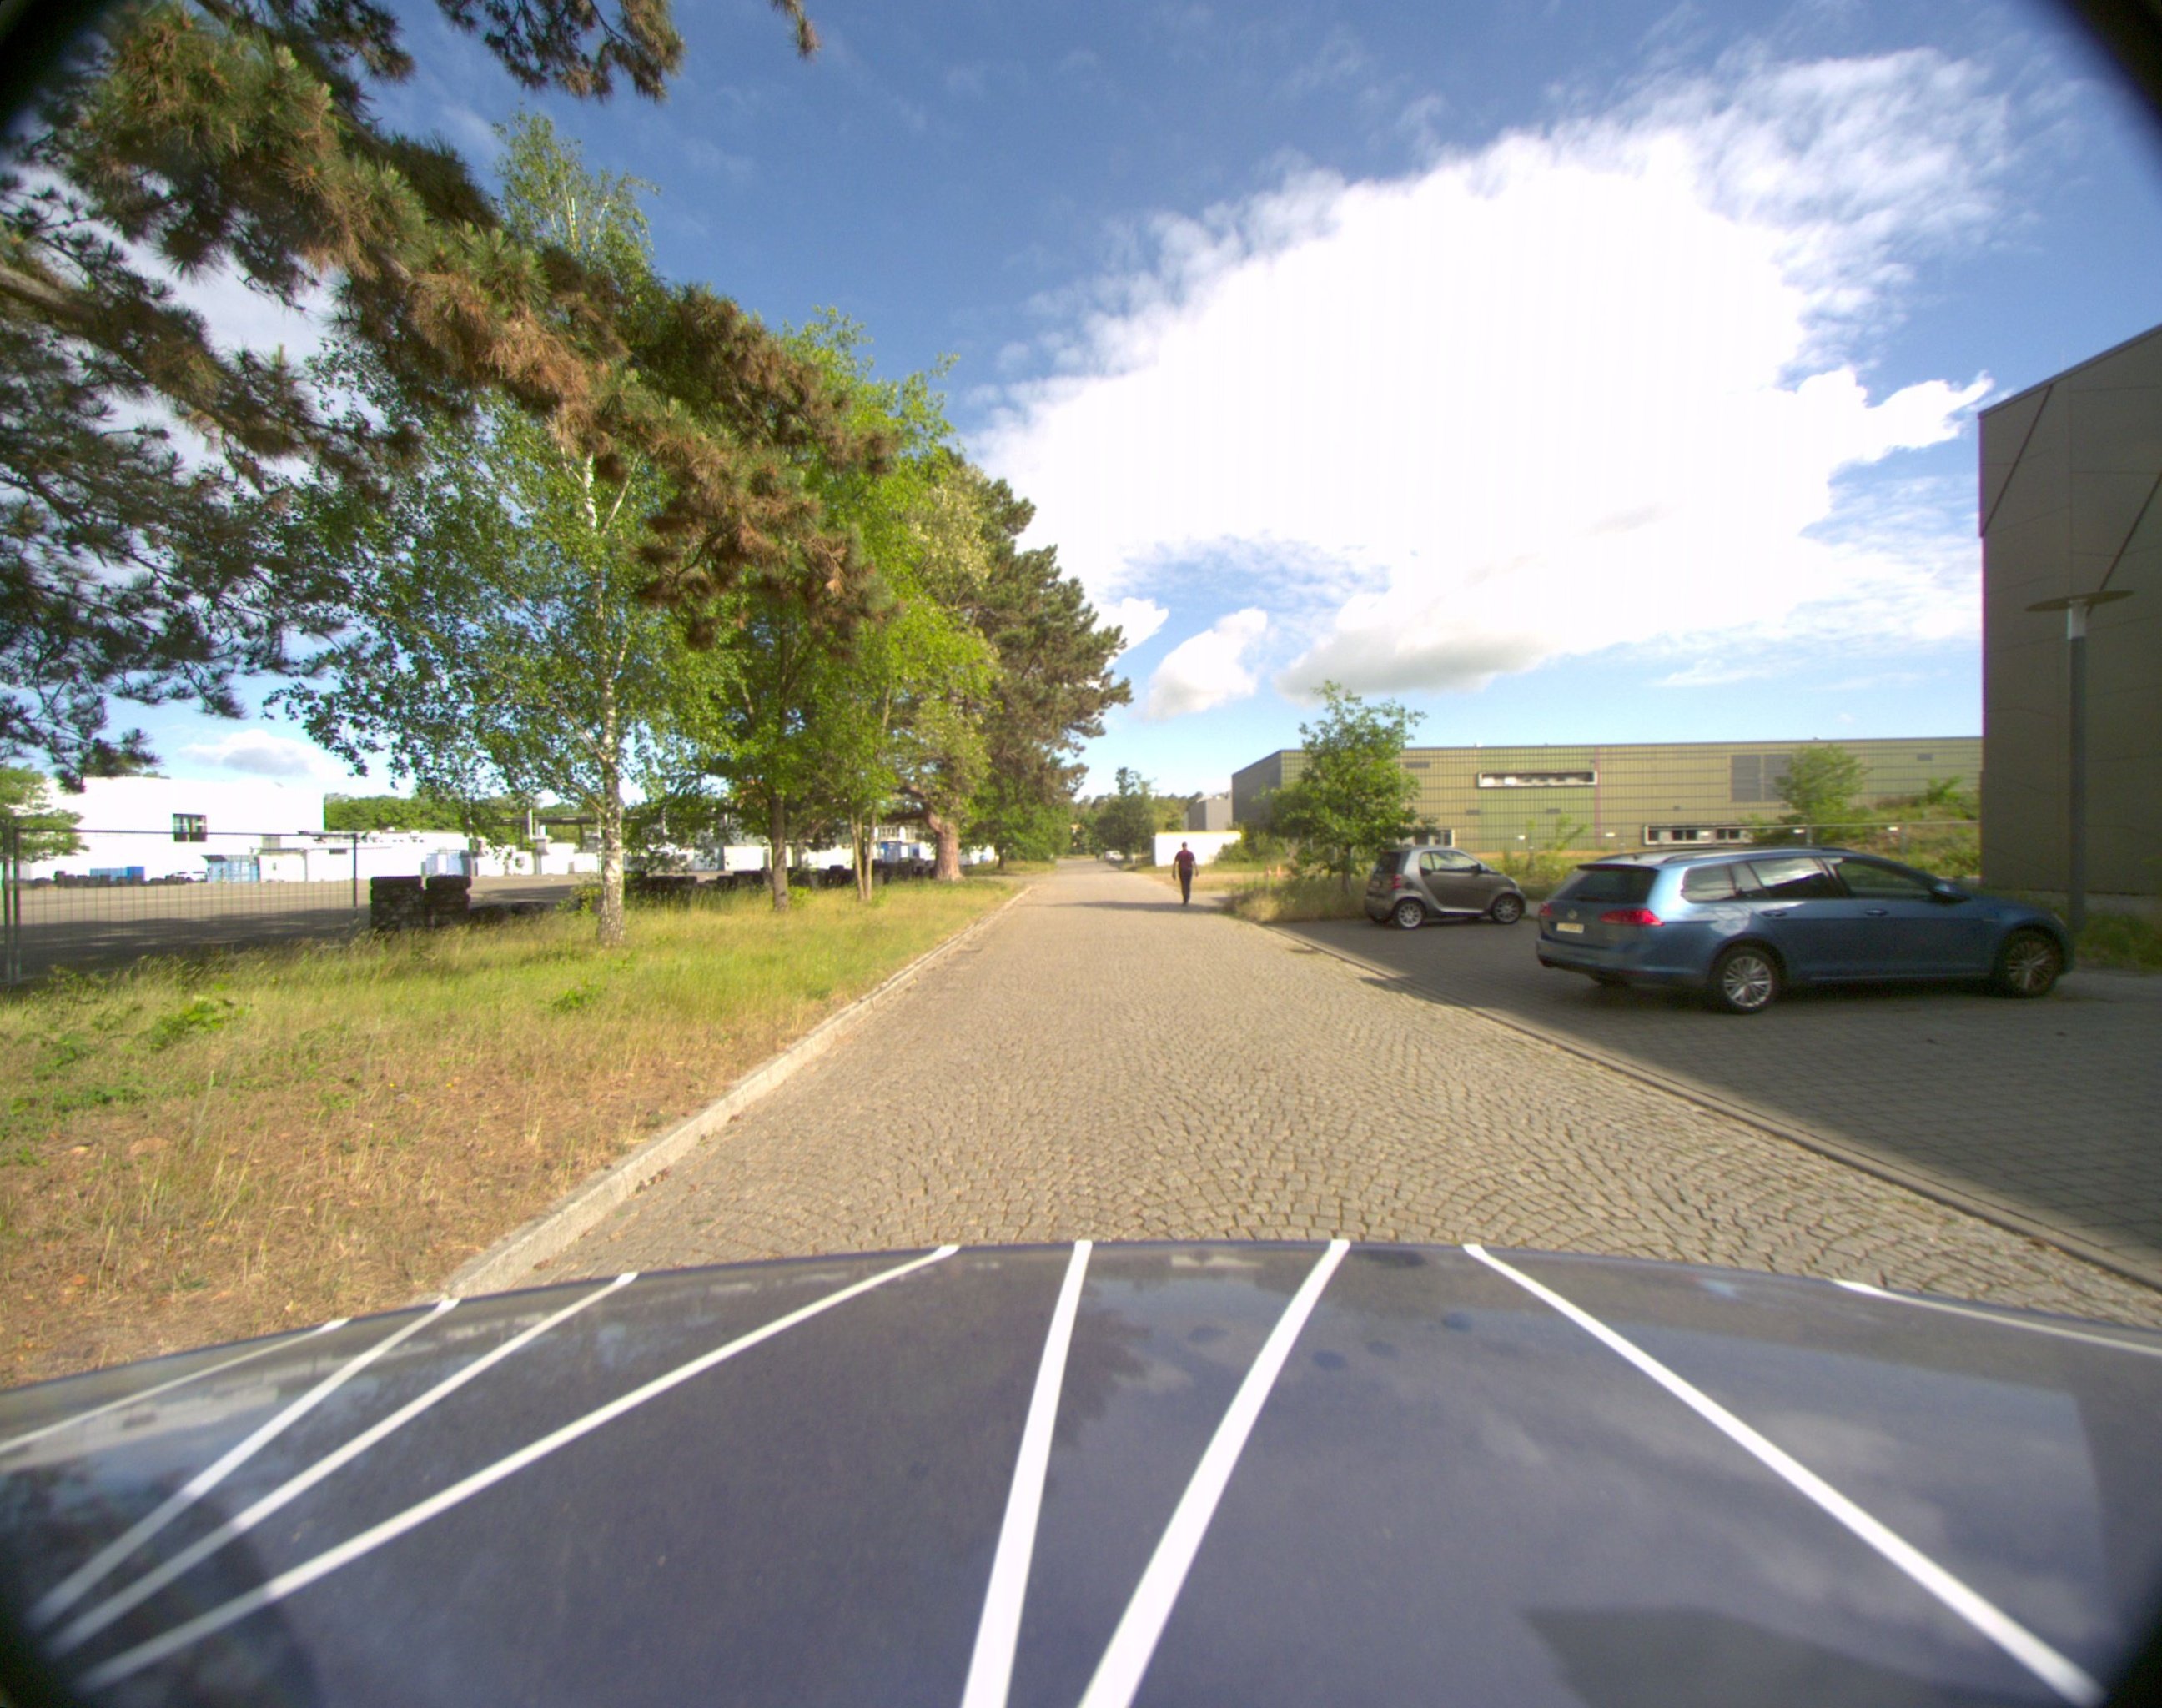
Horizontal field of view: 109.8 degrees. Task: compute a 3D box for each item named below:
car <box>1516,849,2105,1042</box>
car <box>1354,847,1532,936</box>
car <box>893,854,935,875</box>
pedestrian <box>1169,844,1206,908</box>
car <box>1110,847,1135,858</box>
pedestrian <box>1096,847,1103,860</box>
[{"bbox_3d":[6.906,0.790,7.489,4.268,1.455,1.680,-3,1,-2],"label":"car"},{"bbox_3d":[6.999,0.690,14.854,2.706,1.533,1.518,-3,1,-1],"label":"car"},{"bbox_3d":[-12.342,0.746,56.457,1.846,1.440,4.001,-1,1,6],"label":"car"},{"bbox_3d":[3.039,0.618,21.704,0.806,1.761,1.152,-1,1,-4],"label":"pedestrian"},{"bbox_3d":[6.621,-0.249,122.191,3.996,1.678,2.000,-1,1,3],"label":"car"},{"bbox_3d":[2.684,-0.099,110.259,0.908,1.797,0.983,-1,1,-7],"label":"pedestrian"}]
